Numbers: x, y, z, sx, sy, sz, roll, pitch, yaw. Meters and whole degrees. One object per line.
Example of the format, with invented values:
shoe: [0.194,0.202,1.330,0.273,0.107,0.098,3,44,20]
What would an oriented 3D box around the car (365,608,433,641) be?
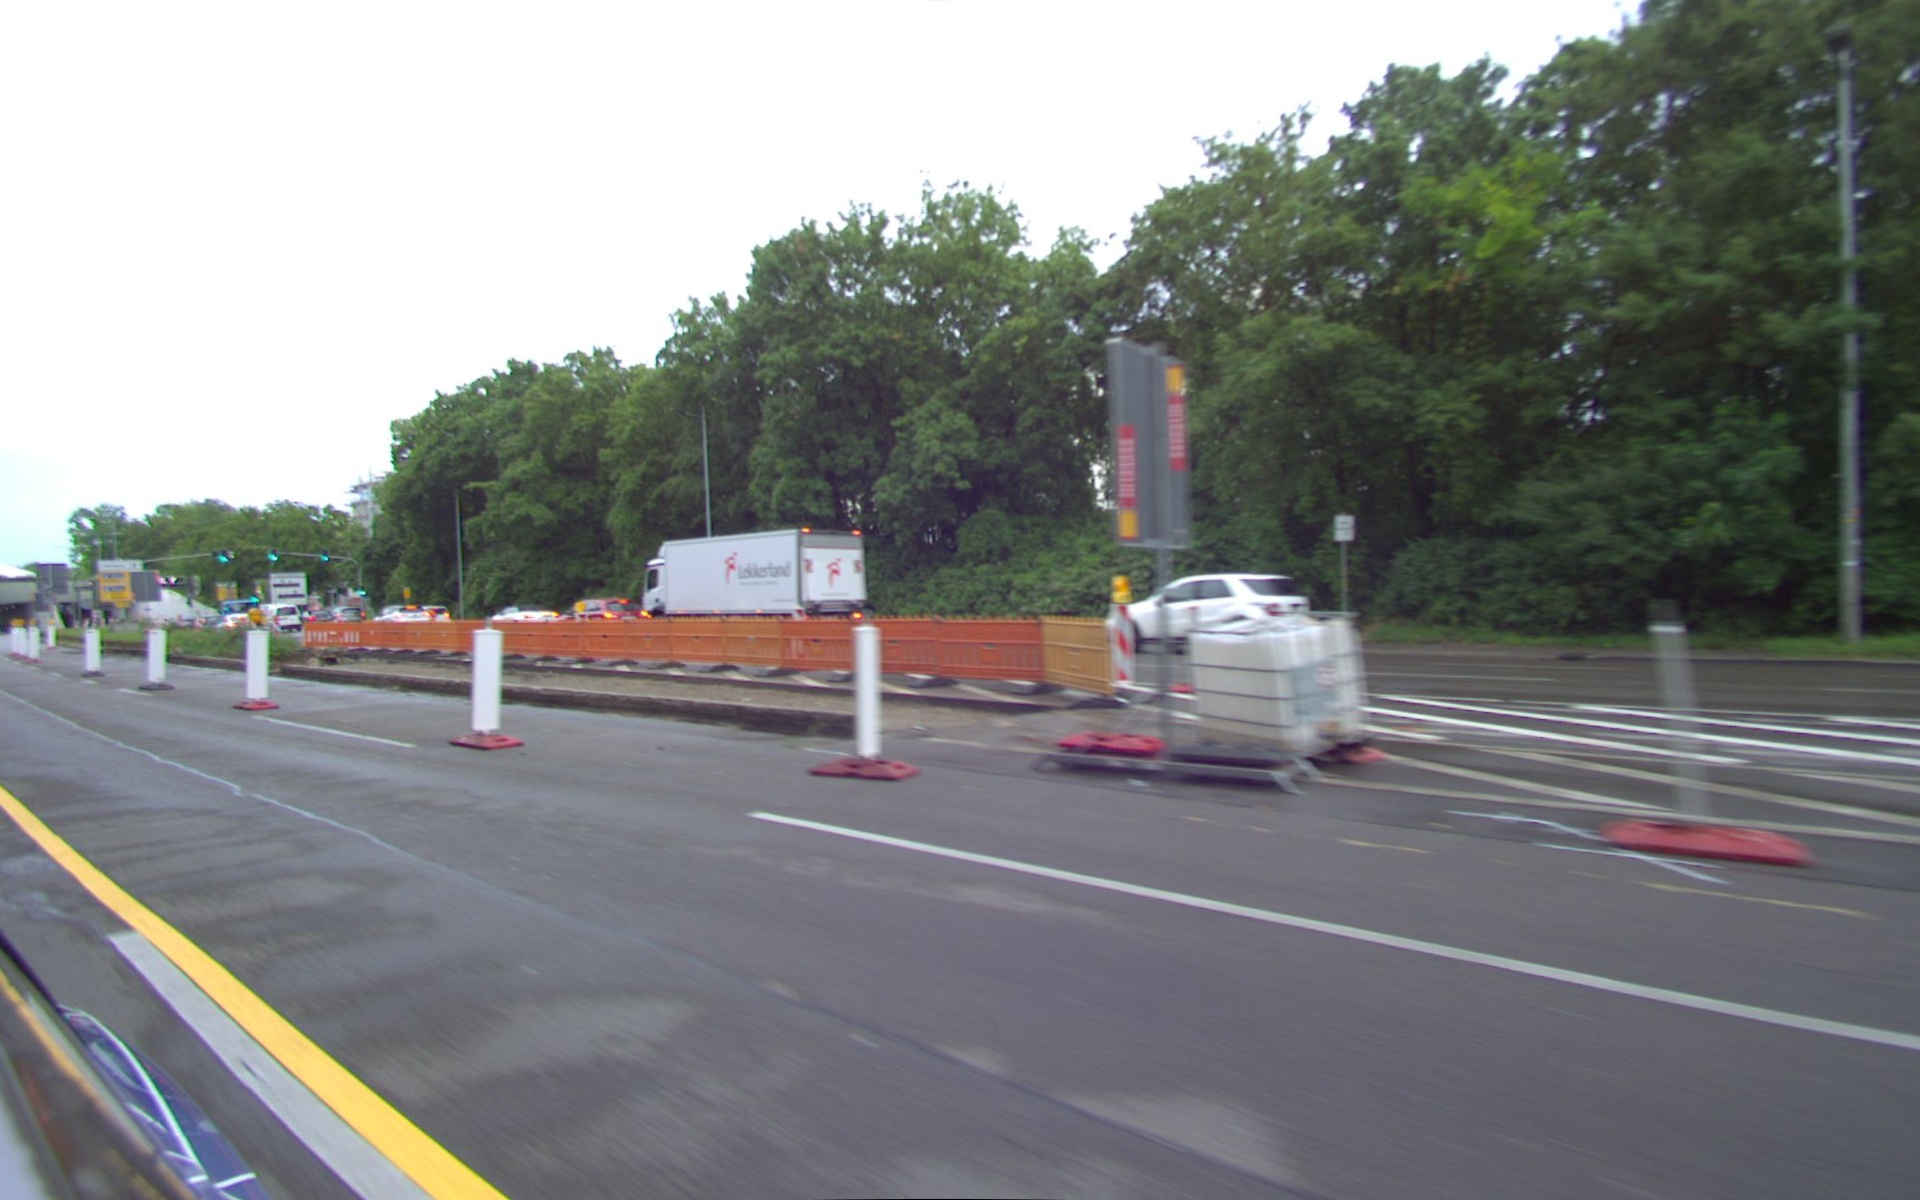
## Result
car: [-28.483,1.237,51.317,4.039,1.562,1.815,-2,0,43]

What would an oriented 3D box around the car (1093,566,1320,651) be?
car: [5.495,0.265,23.005,4.719,1.736,1.824,-2,-3,43]

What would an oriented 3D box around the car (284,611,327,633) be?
car: [-48.708,1.627,75.287,1.772,1.535,4.638,-4,2,-43]

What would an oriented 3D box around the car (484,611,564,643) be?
car: [-20.435,1.270,47.389,4.368,1.389,1.790,-2,0,43]

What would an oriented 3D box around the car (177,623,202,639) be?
car: [-65.513,2.618,86.020,1.529,1.209,4.655,-3,1,-39]

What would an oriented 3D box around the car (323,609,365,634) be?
car: [-41.882,1.440,68.793,1.652,1.535,3.793,-4,1,-43]

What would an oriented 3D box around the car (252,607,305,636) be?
car: [-47.119,1.513,69.907,4.832,1.794,1.894,-3,0,42]

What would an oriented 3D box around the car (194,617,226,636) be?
car: [-54.119,1.893,73.034,1.413,1.209,3.303,-4,2,-43]

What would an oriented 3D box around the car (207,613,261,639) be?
car: [-45.145,1.635,62.932,4.679,1.497,1.836,-2,0,43]

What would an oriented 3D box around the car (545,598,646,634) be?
car: [-13.114,0.592,36.280,4.282,1.161,1.588,-2,0,43]

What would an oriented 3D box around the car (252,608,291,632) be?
car: [-62.290,1.816,91.525,2.011,1.989,4.994,-4,1,-44]

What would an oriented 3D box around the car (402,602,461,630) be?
car: [-30.086,0.924,57.602,3.896,1.436,1.771,-2,0,43]

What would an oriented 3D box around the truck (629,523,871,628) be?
truck: [-7.566,-0.679,35.050,10.147,3.172,2.765,-2,0,43]

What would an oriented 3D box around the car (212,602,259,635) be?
car: [-59.622,1.537,83.252,2.170,2.408,6.248,-4,1,-44]
